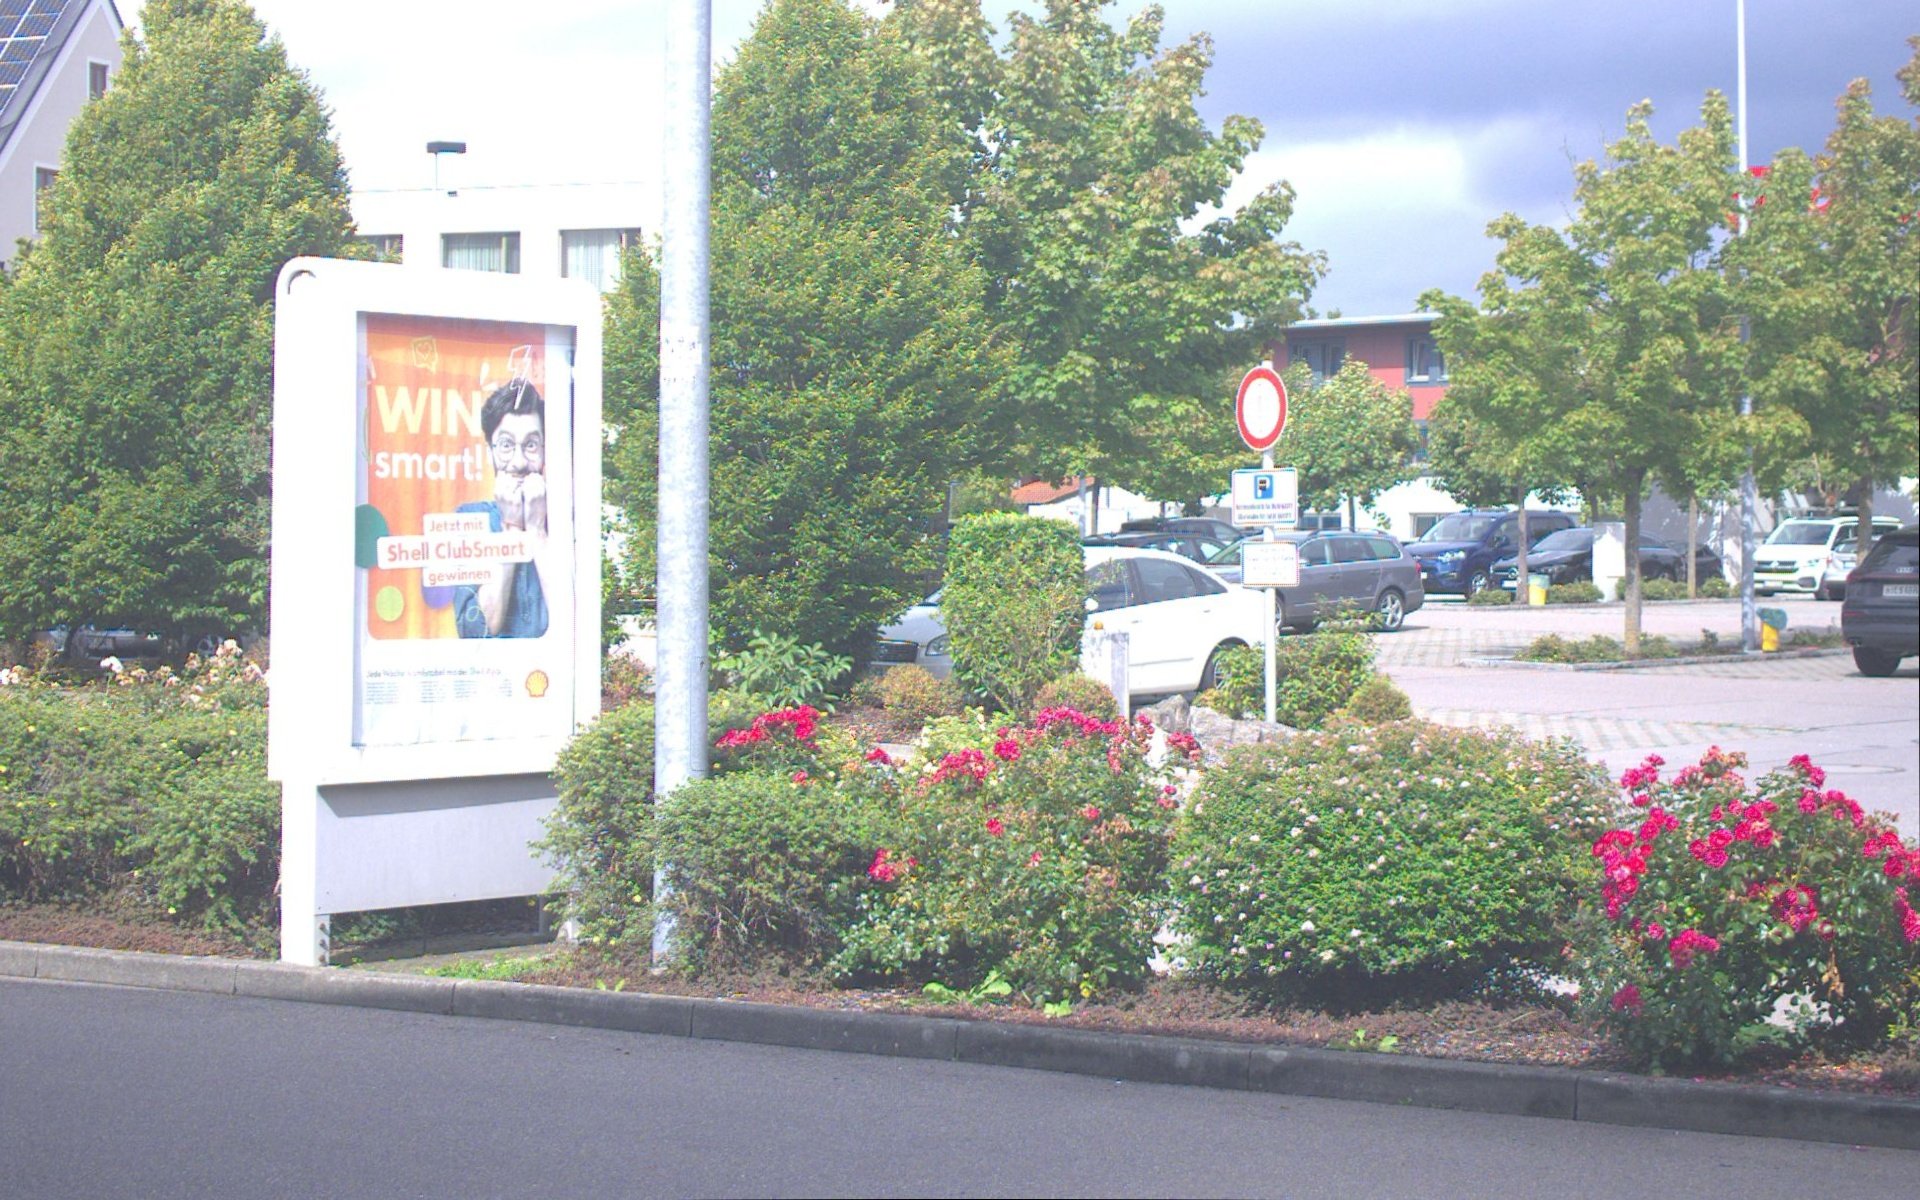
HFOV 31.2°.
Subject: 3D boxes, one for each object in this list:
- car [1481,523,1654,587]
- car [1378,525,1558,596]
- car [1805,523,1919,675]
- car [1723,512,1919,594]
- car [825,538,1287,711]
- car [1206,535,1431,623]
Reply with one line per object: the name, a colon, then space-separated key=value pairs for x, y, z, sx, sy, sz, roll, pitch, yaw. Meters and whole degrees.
car: x=11.516 y=-0.846 z=65.051 sx=3.409 sy=1.174 sz=1.485 roll=0 pitch=1 yaw=-44
car: x=9.888 y=-0.765 z=66.799 sx=3.379 sy=1.316 sz=1.747 roll=0 pitch=1 yaw=-44
car: x=11.133 y=-0.011 z=36.745 sx=4.491 sy=1.543 sz=1.885 roll=0 pitch=1 yaw=-43
car: x=20.250 y=-1.093 z=80.656 sx=4.864 sy=1.827 sz=2.184 roll=0 pitch=1 yaw=-43
car: x=0.904 y=0.200 z=29.943 sx=4.332 sy=1.399 sz=1.370 roll=0 pitch=1 yaw=-44
car: x=5.203 y=-0.295 z=49.732 sx=3.218 sy=1.224 sz=1.505 roll=0 pitch=1 yaw=-44
